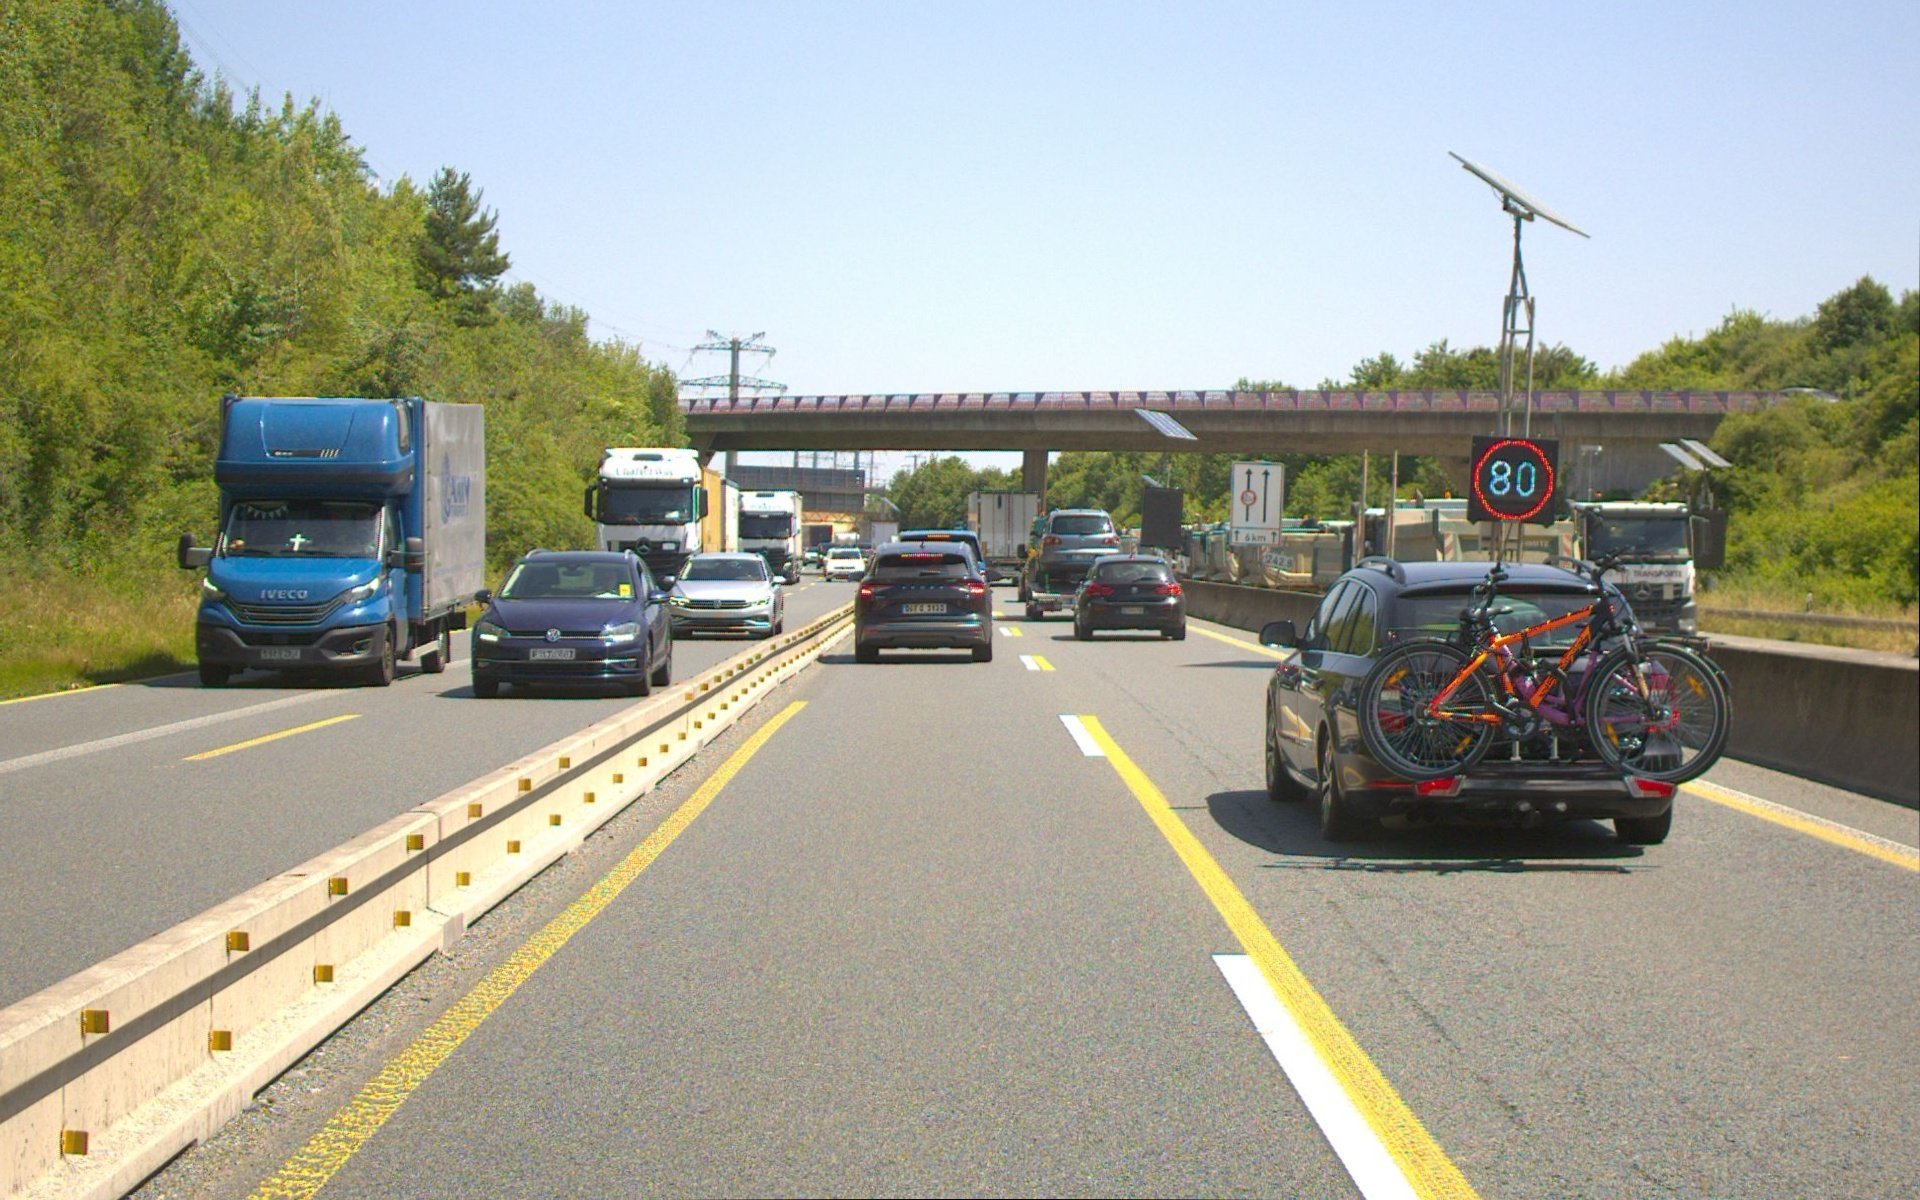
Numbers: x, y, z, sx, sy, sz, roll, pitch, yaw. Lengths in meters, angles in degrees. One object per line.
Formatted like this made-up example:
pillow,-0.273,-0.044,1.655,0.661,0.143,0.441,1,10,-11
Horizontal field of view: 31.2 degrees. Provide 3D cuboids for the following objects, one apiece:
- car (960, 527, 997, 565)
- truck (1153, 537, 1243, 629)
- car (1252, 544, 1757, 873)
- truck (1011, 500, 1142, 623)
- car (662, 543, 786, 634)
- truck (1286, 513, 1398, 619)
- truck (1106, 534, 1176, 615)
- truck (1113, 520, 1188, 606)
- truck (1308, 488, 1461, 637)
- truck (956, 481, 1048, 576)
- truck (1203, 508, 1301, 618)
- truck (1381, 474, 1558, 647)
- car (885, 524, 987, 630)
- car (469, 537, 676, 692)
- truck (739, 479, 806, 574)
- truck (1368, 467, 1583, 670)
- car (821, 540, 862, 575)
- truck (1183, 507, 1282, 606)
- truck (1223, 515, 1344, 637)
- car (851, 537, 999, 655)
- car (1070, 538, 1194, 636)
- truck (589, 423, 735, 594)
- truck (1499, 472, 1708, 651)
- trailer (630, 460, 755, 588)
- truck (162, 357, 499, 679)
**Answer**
car,0.971,-2.840,180.882,1.899,1.962,4.276,1,1,0
truck,9.509,-0.739,138.296,2.687,3.545,9.326,1,1,-1
car,2.717,0.477,18.289,1.899,1.485,4.947,1,0,0
truck,2.505,-0.901,75.962,2.405,2.549,7.501,1,1,-2
car,-4.000,-0.214,58.819,1.841,1.485,4.511,-1,1,-1
truck,12.734,-1.179,115.337,2.687,3.366,9.603,1,1,0
truck,8.826,-1.277,168.351,2.687,3.843,9.326,1,1,-1
truck,8.610,-1.705,156.439,2.687,3.748,9.326,1,1,-1
truck,10.624,-0.976,87.000,2.538,3.545,9.603,1,1,-1
truck,1.714,-3.004,145.781,3.292,3.832,10.111,1,1,-3
truck,9.846,-1.293,116.708,2.687,3.545,9.406,1,1,1
truck,10.931,-0.878,74.563,2.533,3.499,8.944,1,1,0
car,-0.442,-0.460,66.829,1.899,1.962,4.276,1,1,0
car,-3.961,0.124,35.731,1.761,1.485,4.402,1,0,-2
truck,-8.189,-3.189,151.050,2.409,3.978,10.353,1,1,-1
truck,9.517,-0.626,64.437,2.533,3.499,9.097,1,1,-1
car,-5.627,-2.023,163.493,1.824,1.625,4.151,1,0,-1
truck,10.169,-1.657,129.038,2.687,3.545,9.326,1,1,-1
truck,9.813,-0.779,105.227,2.687,3.545,9.603,1,1,0
car,-0.447,-0.081,46.678,1.899,1.500,4.276,1,1,0
car,2.875,-0.237,58.315,1.899,1.580,4.276,1,1,1
truck,-7.450,-2.273,87.069,2.649,3.978,9.651,2,1,0
truck,13.370,-0.824,72.120,2.687,3.499,8.381,1,1,-1
trailer,-7.414,-2.104,96.354,2.650,3.325,8.919,2,1,0
truck,-7.052,-0.935,39.477,2.405,3.318,7.500,1,1,0
